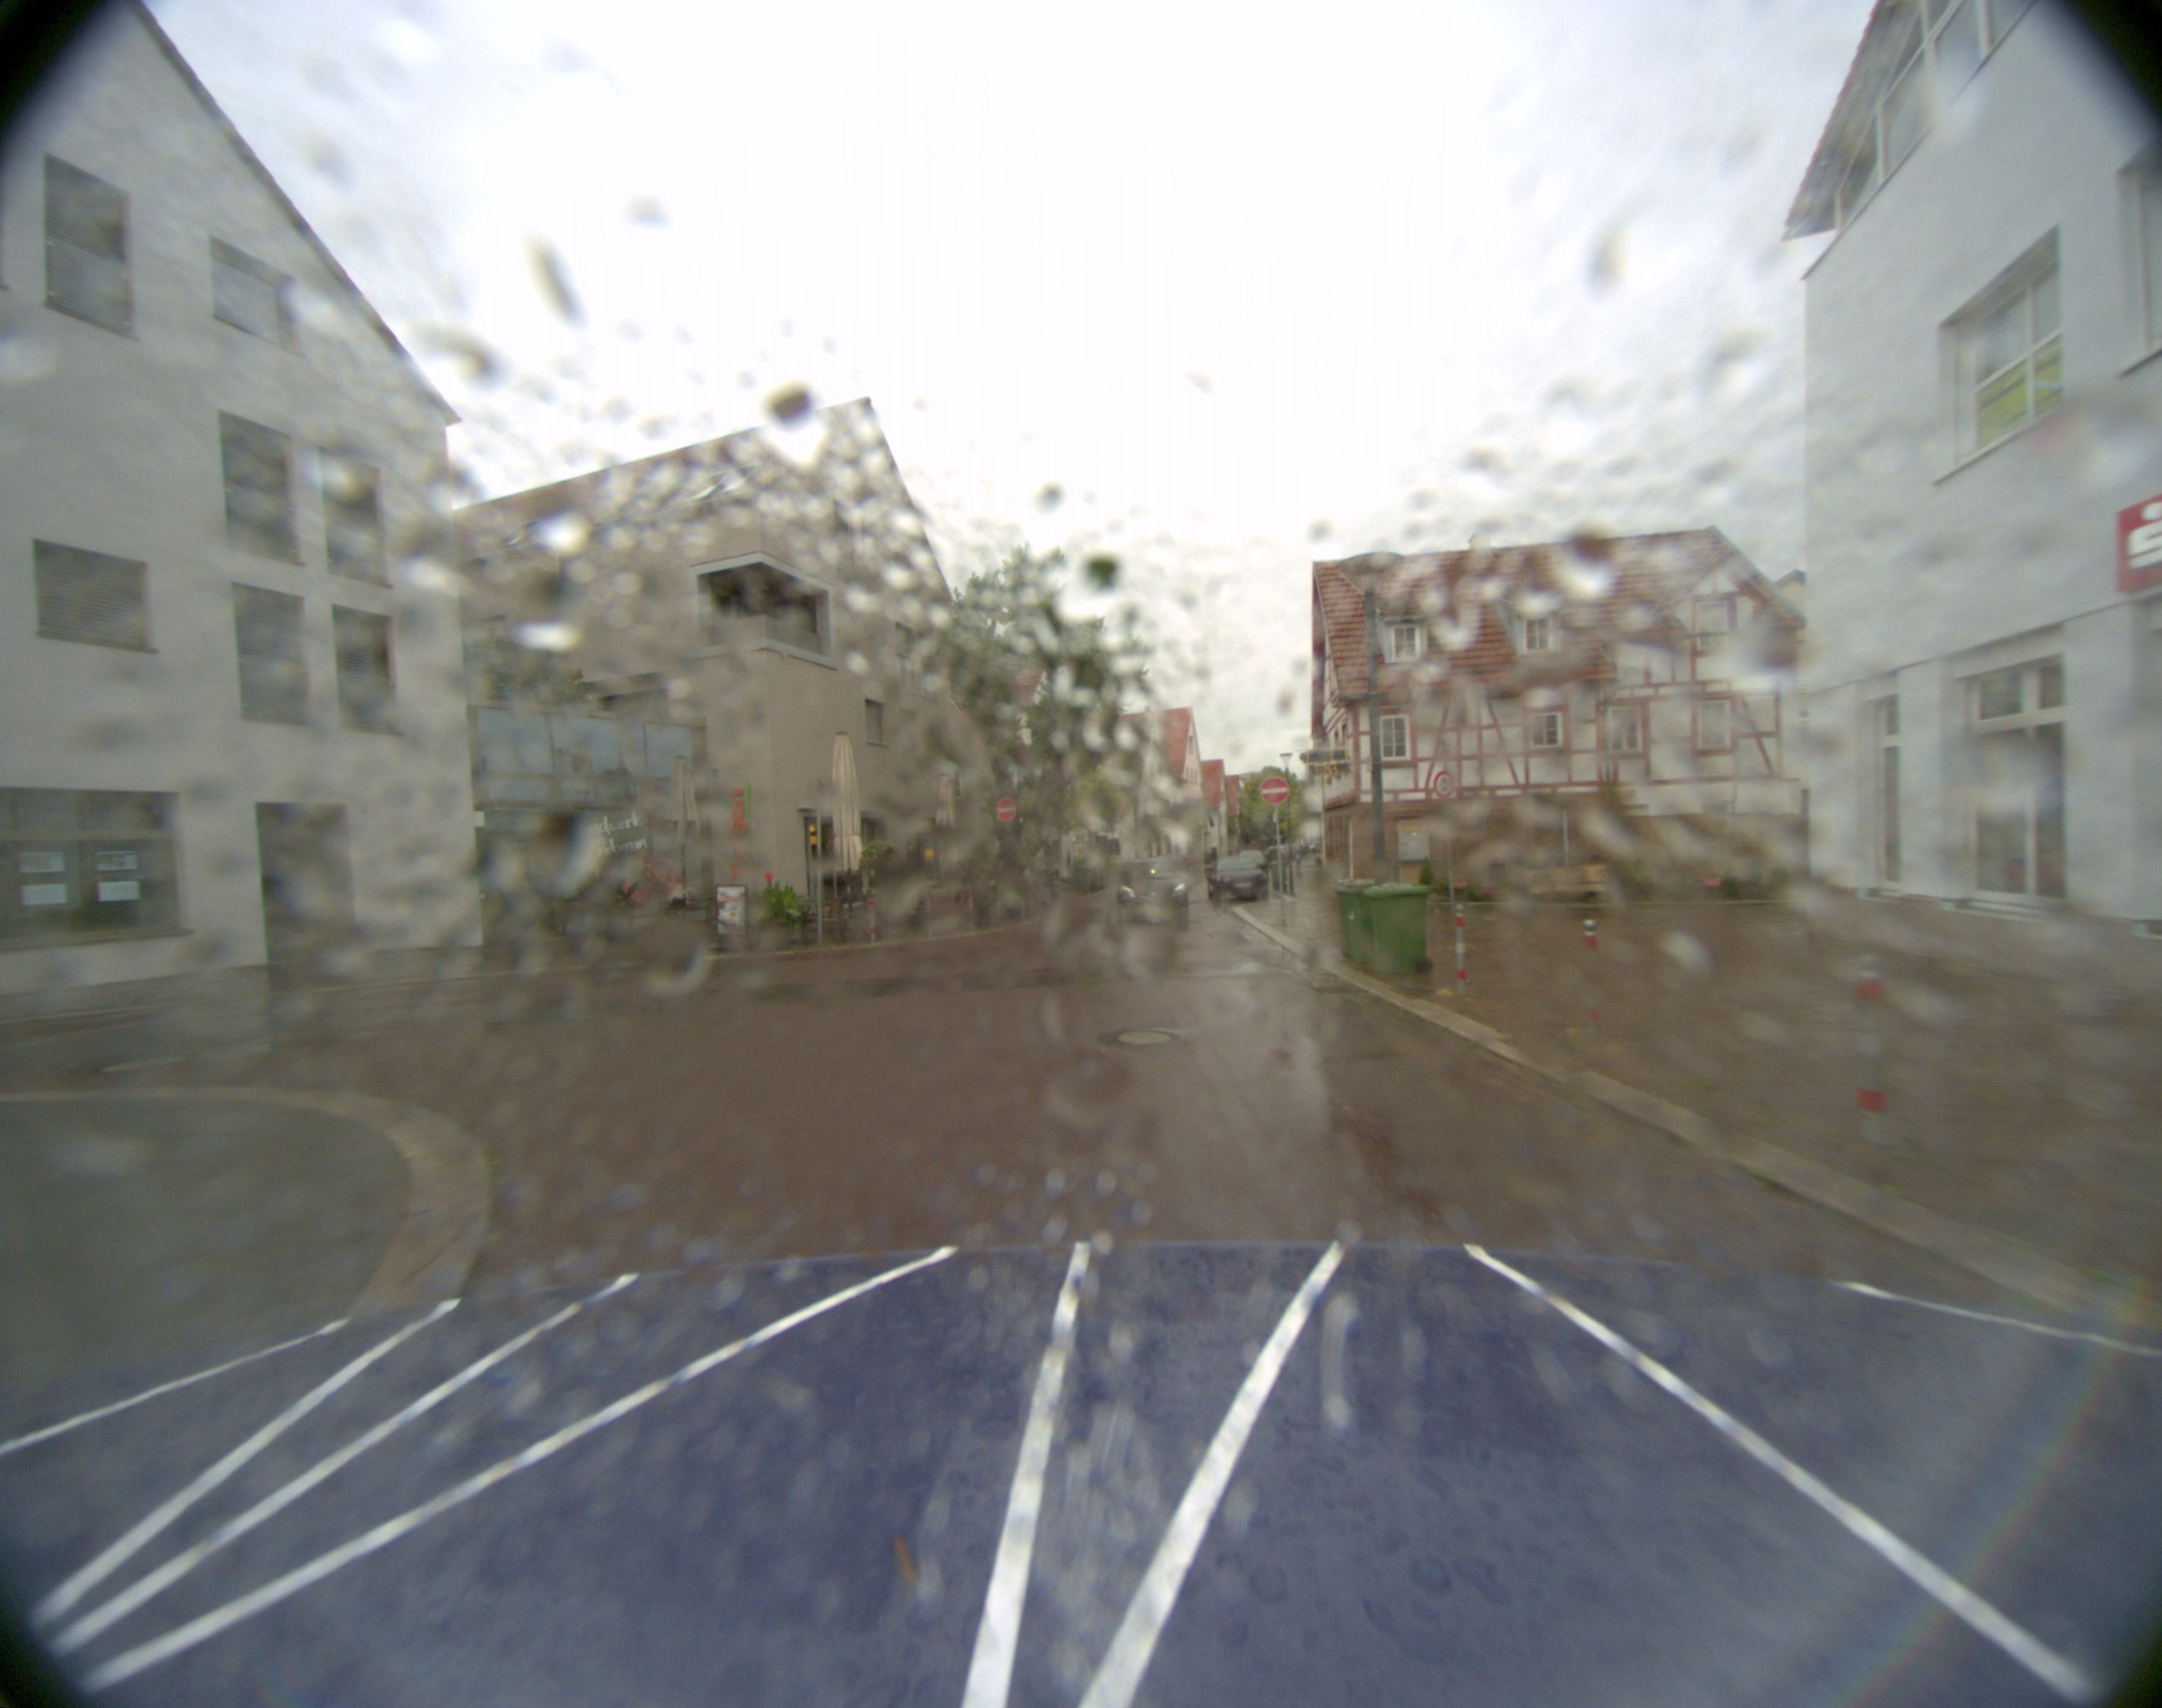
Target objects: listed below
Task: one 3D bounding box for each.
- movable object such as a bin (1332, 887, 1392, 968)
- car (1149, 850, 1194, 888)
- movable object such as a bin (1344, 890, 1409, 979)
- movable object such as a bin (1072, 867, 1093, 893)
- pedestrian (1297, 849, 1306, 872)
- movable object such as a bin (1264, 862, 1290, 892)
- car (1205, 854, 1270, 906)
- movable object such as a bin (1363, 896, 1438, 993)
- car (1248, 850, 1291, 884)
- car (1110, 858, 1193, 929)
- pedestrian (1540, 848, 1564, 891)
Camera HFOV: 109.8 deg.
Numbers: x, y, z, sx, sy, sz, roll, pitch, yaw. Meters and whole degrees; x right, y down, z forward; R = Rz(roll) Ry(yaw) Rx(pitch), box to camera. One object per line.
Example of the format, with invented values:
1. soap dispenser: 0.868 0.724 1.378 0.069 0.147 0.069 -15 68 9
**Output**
1. movable object such as a bin: 3.956 1.031 10.721 0.660 1.076 0.553 -1 1 6
2. car: 4.735 0.733 39.231 1.997 1.740 4.003 -1 1 10
3. movable object such as a bin: 3.913 1.052 10.088 0.660 1.108 0.553 -1 1 6
4. movable object such as a bin: 0.079 1.091 31.891 0.765 1.068 0.538 -1 1 11
5. pedestrian: 12.626 0.398 43.577 0.454 1.300 0.518 -1 1 16
6. movable object such as a bin: 7.655 0.883 29.696 0.834 1.105 0.919 -1 1 8
7. car: 5.305 0.830 26.153 1.693 1.477 4.001 -4 0 6
8. movable object such as a bin: 3.849 1.079 9.181 0.660 1.090 0.613 -1 1 4
9. car: 9.948 0.663 40.001 1.996 1.520 4.004 -4 0 15
10. car: 1.864 0.919 19.153 1.735 1.546 3.847 -1 0 10
11. pedestrian: 12.908 0.414 20.833 0.412 1.147 0.425 -2 1 9
